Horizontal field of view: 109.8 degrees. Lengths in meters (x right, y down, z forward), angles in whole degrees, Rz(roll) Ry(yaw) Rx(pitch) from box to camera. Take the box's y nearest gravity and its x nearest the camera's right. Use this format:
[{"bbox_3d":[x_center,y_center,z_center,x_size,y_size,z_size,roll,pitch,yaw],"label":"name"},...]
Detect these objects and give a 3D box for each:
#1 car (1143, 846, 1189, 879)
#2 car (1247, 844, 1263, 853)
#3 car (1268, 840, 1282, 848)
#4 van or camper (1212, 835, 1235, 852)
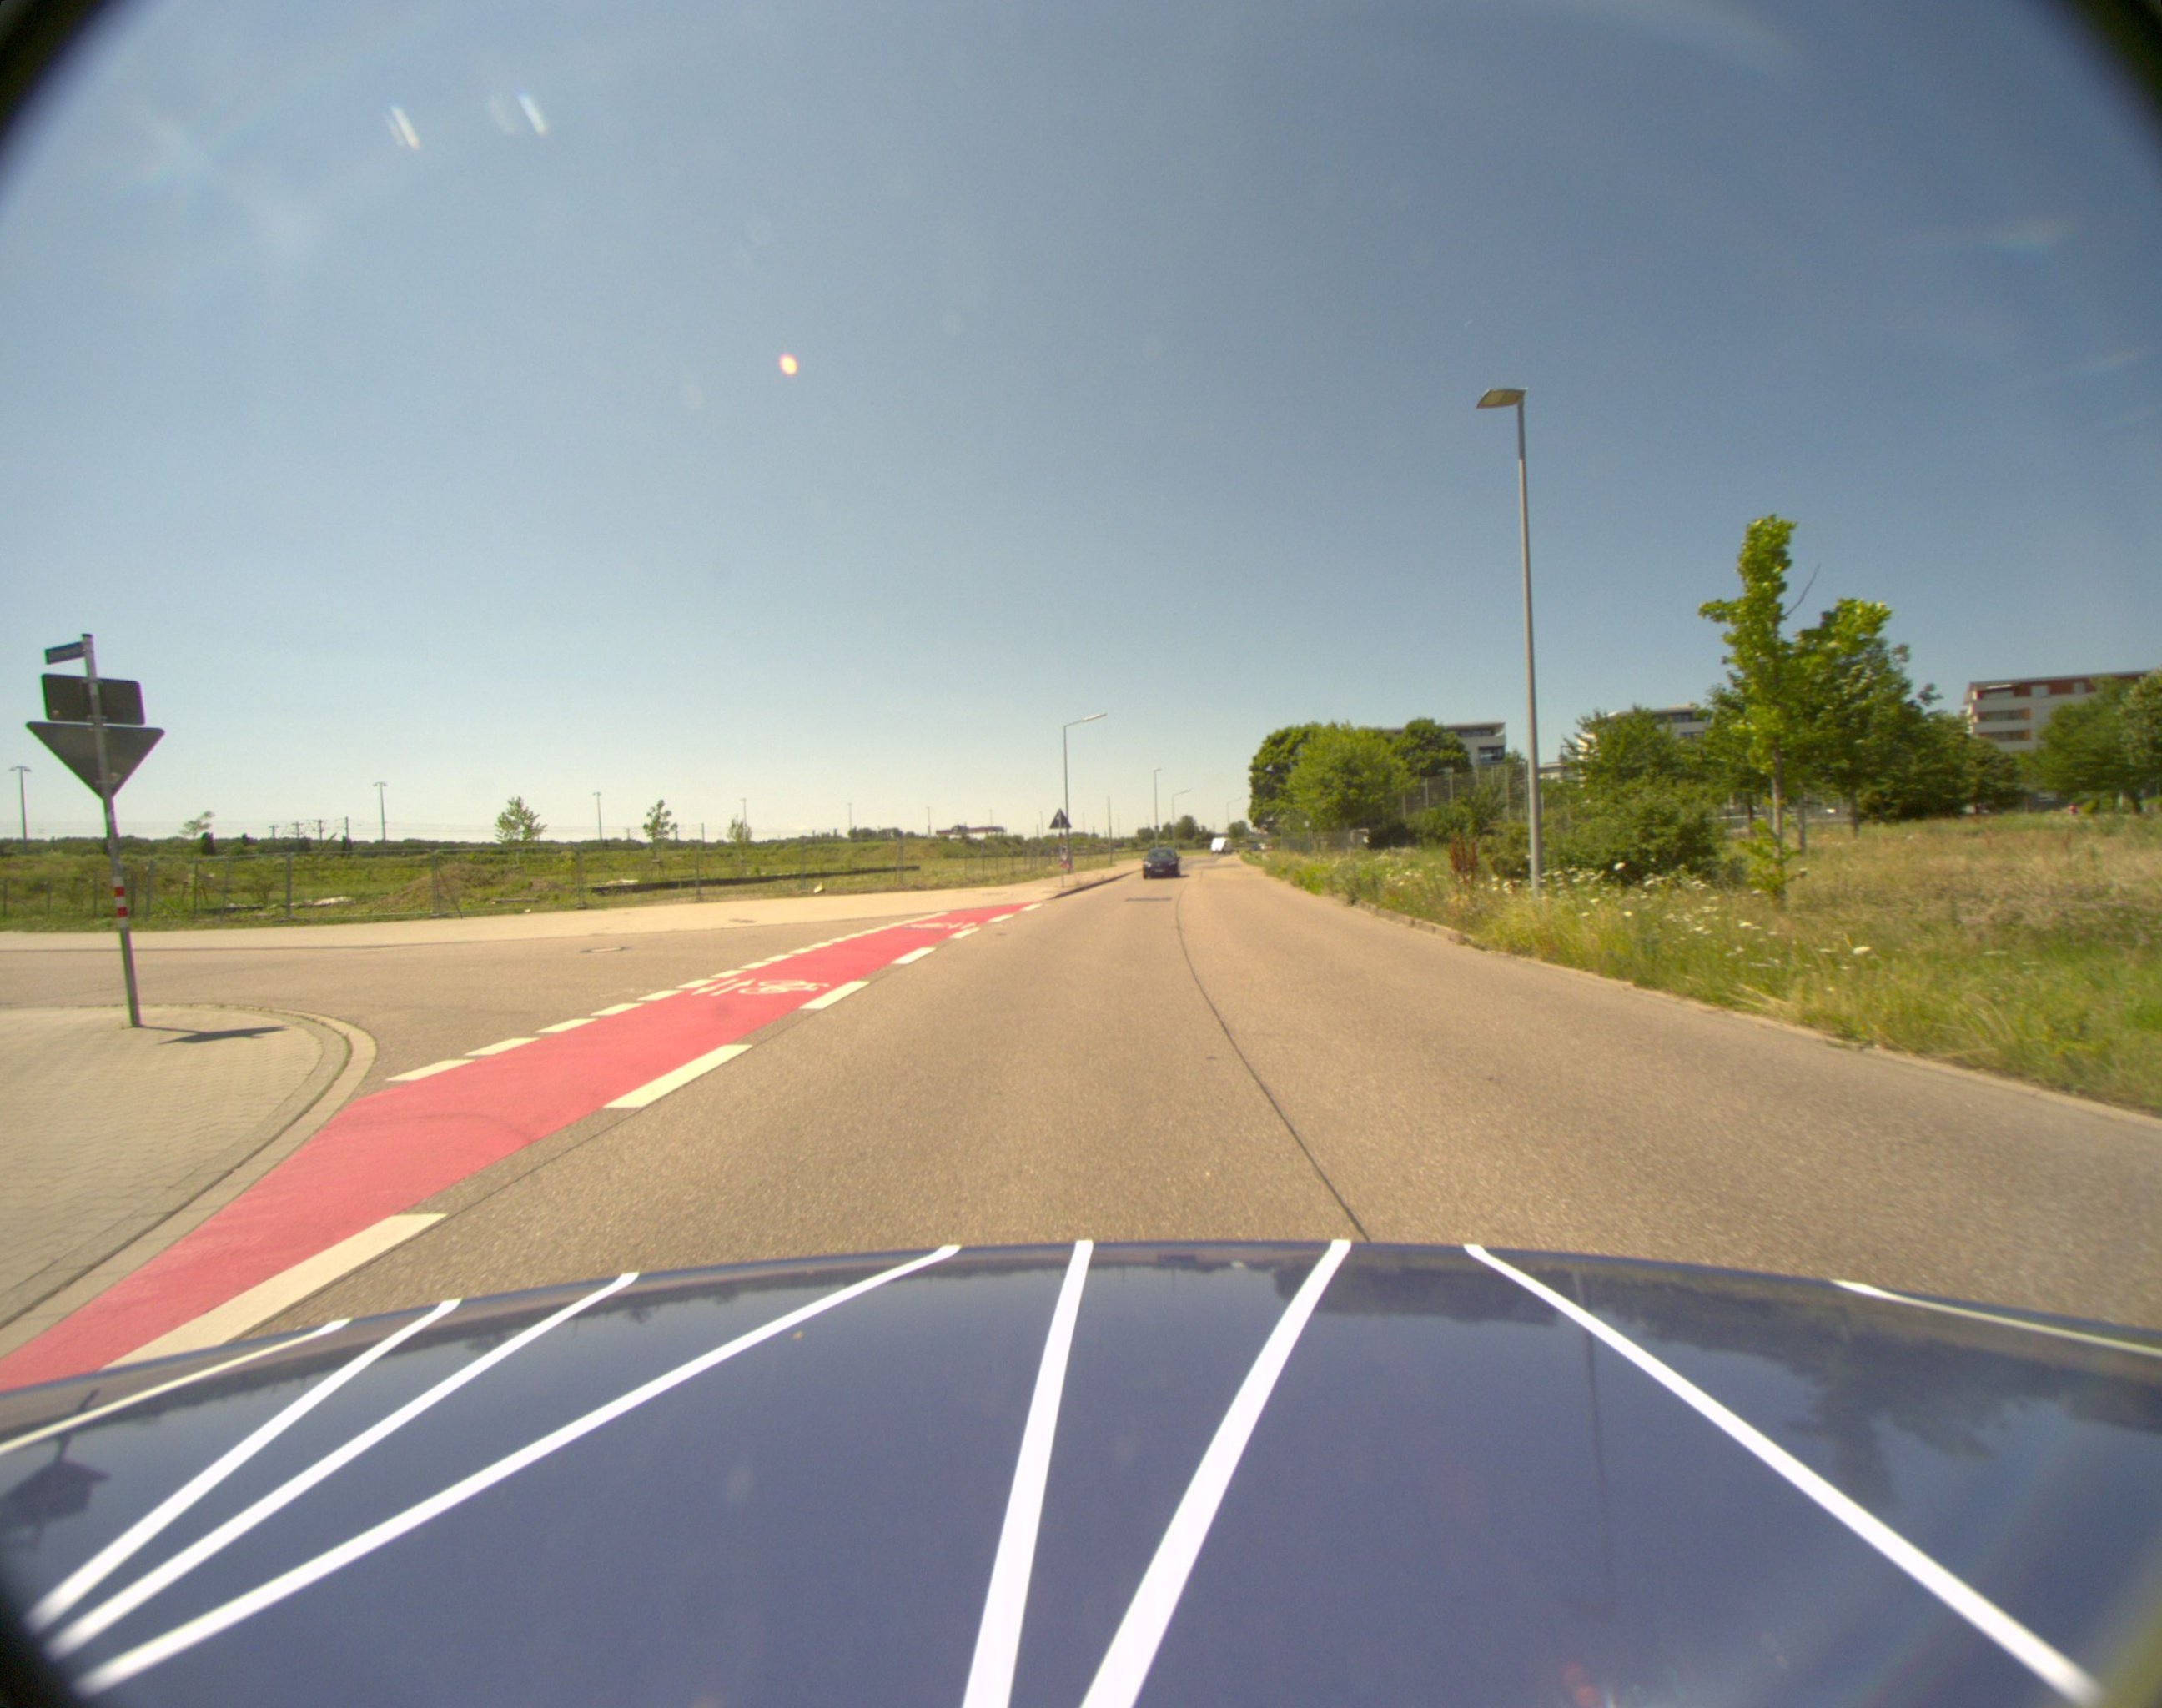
[{"bbox_3d":[4.241,0.358,37.245,1.652,1.458,4.163,-2,0,14],"label":"car"},{"bbox_3d":[31.540,-0.954,137.500,1.651,1.458,3.873,-2,0,32],"label":"car"},{"bbox_3d":[39.215,-1.987,153.337,1.651,1.458,3.873,-2,0,31],"label":"car"},{"bbox_3d":[21.935,-1.622,116.766,2.137,2.558,5.875,-2,0,24],"label":"van or camper"}]
